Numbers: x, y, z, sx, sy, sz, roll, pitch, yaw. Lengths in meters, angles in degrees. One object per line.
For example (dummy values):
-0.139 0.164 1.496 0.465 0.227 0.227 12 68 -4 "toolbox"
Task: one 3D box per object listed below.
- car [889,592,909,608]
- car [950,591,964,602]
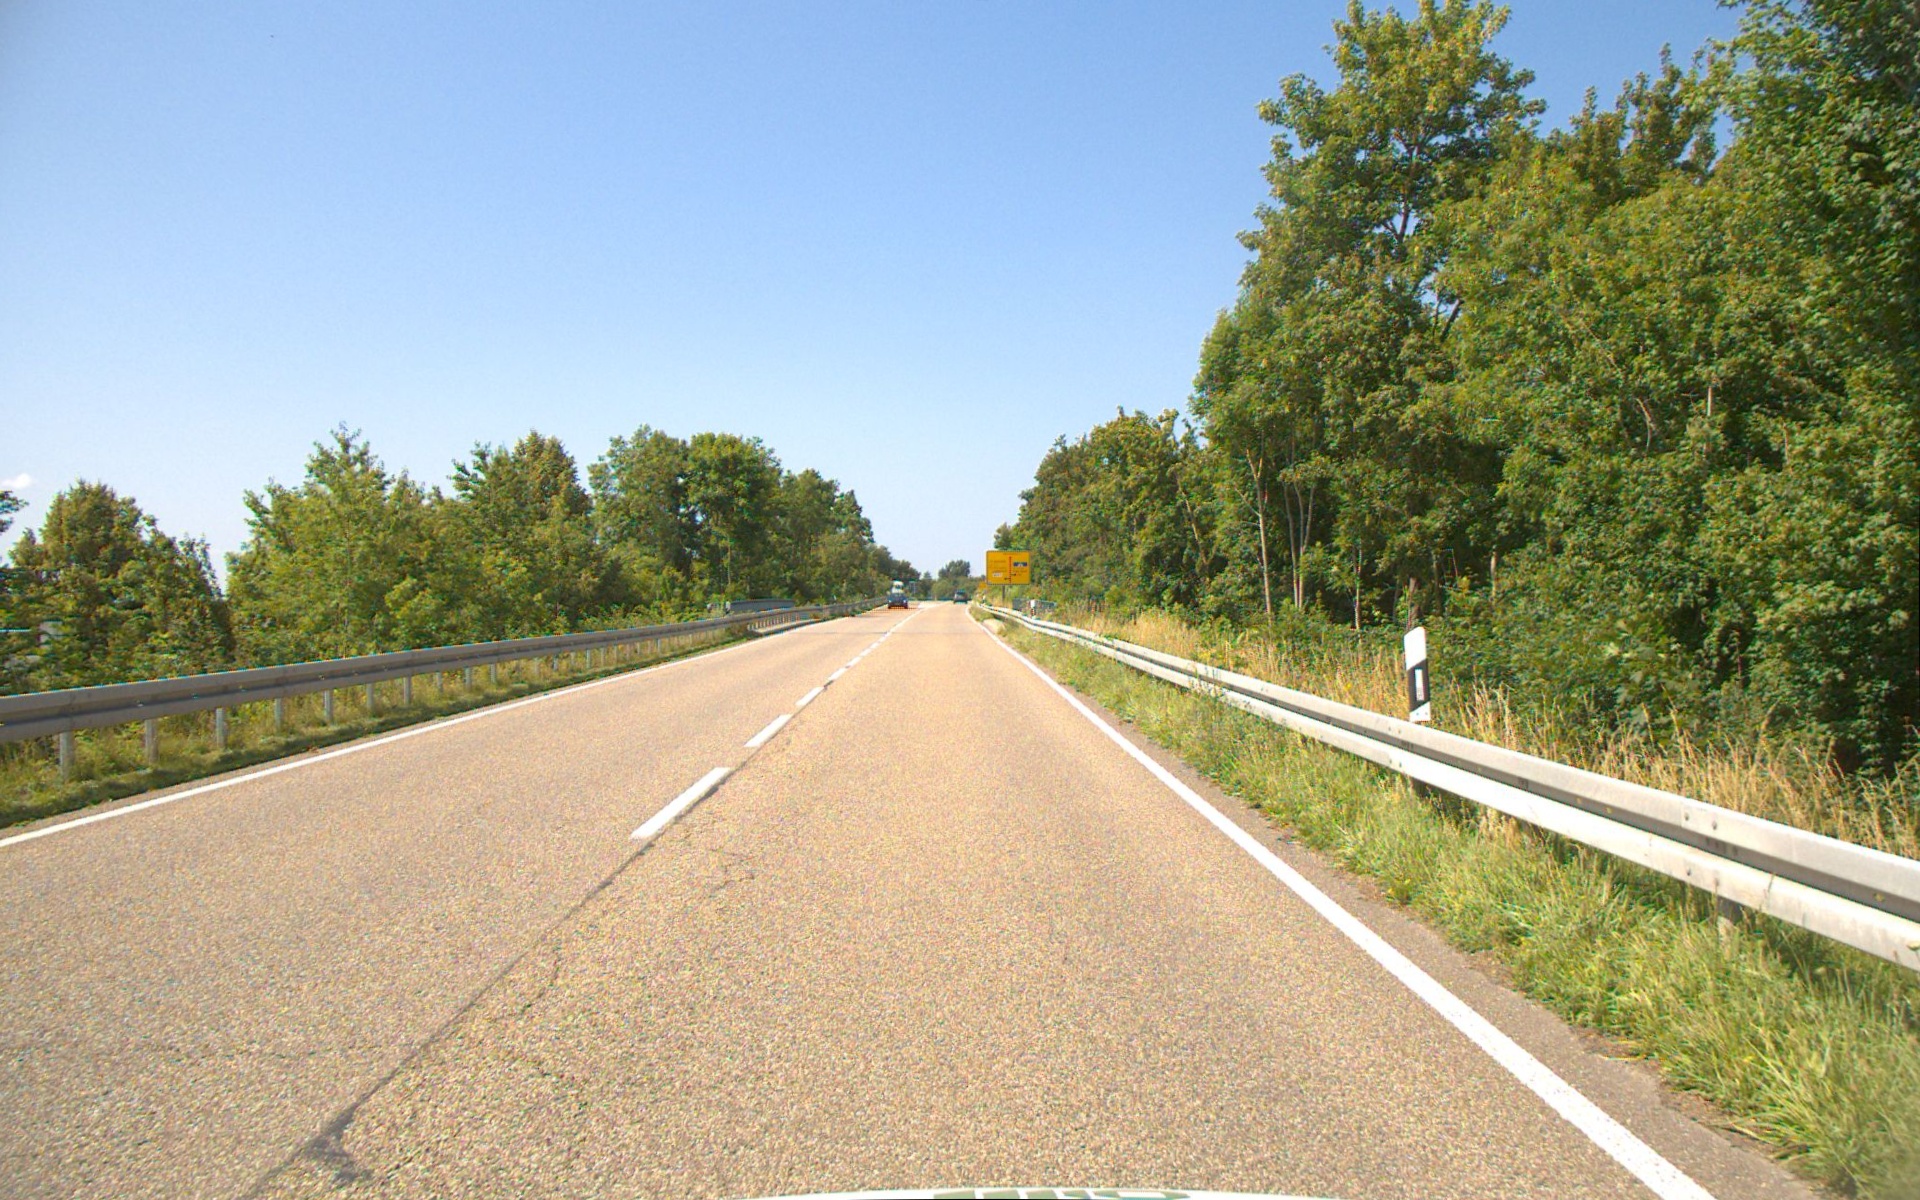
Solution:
-5.613 0.034 153.531 1.710 1.450 4.677 0 0 0 "car"
-0.363 -0.446 209.888 1.705 1.496 3.692 0 0 0 "car"
